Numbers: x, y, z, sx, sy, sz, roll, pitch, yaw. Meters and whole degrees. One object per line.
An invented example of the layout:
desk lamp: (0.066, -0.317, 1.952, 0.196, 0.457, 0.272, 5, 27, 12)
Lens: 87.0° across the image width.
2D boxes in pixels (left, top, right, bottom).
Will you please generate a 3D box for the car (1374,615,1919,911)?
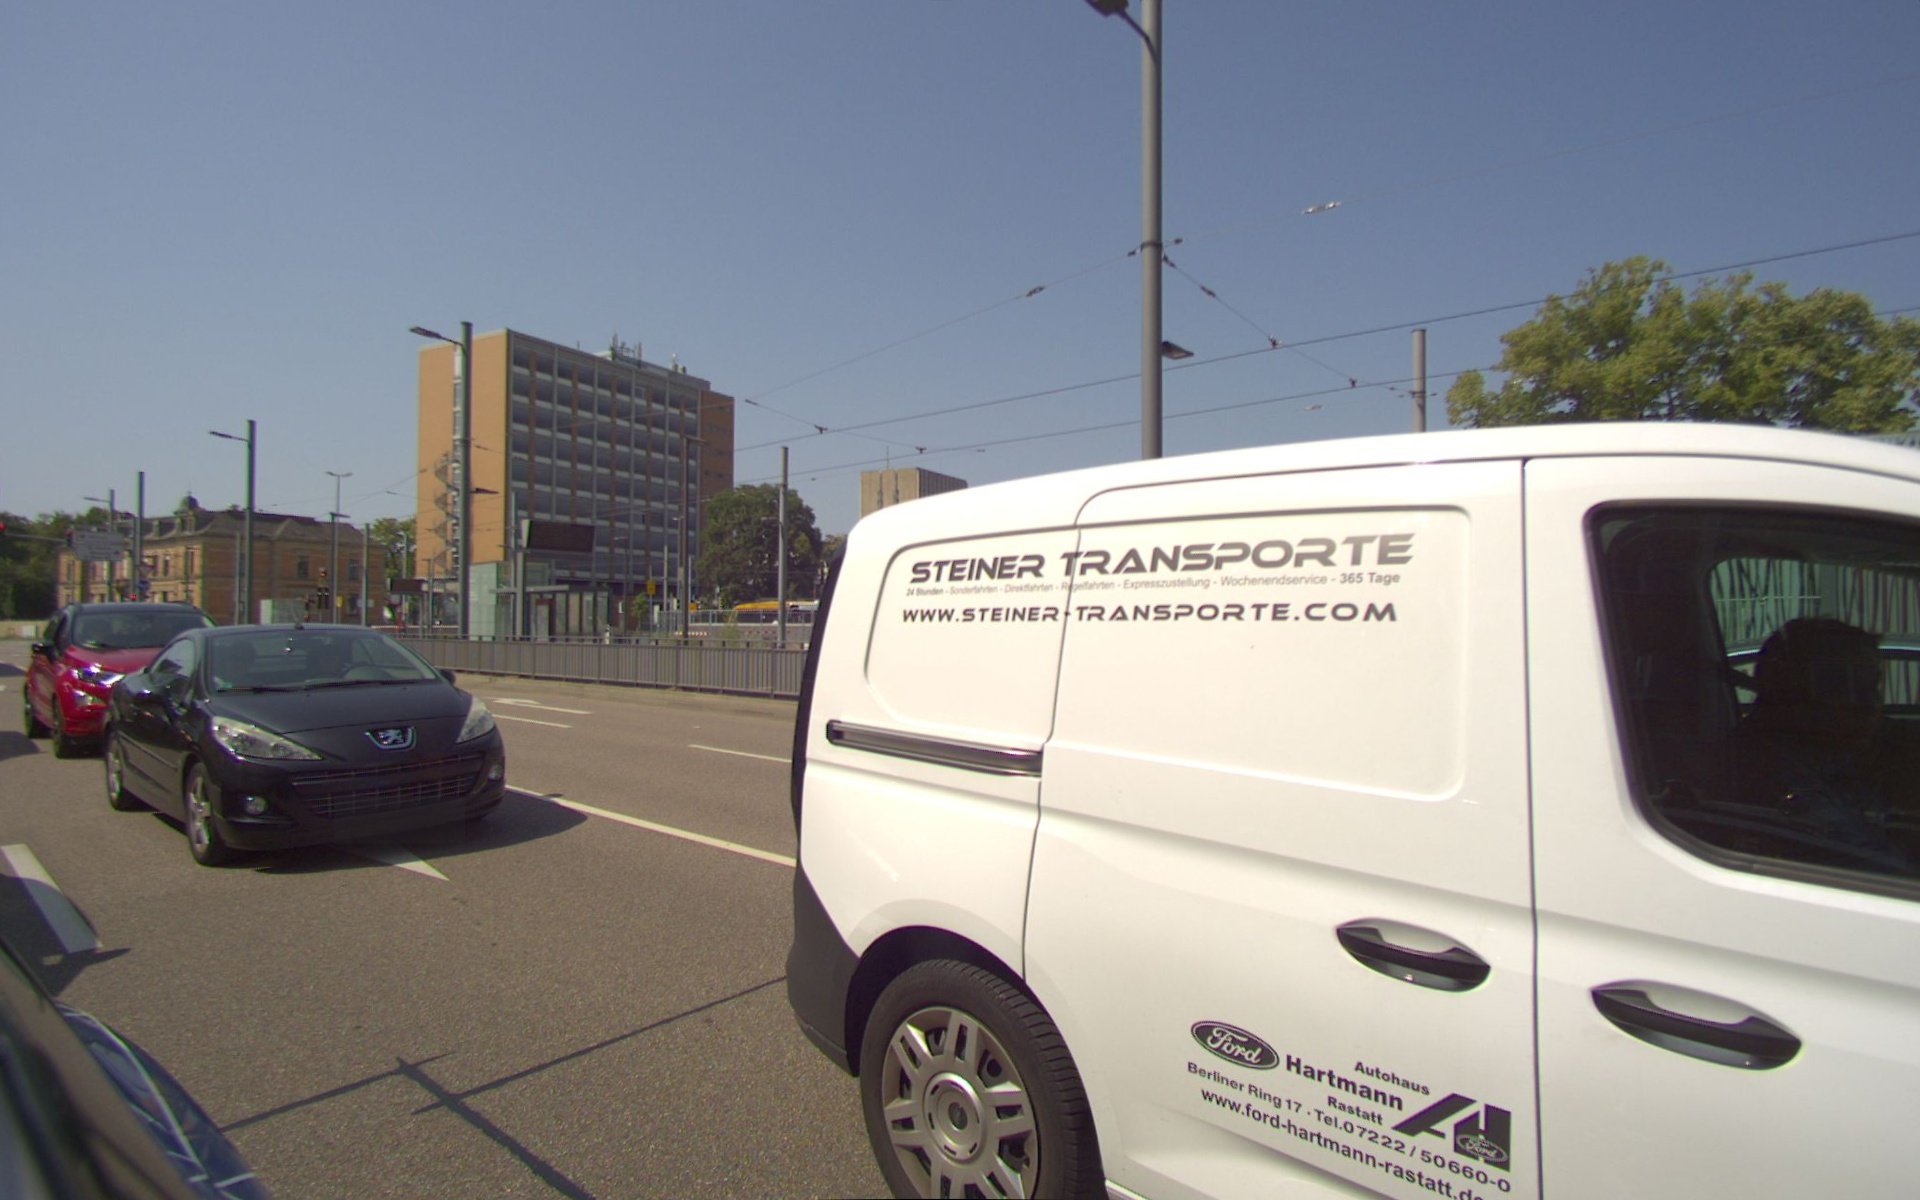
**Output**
car: (5.016, 0.842, 5.828, 4.570, 1.446, 1.728, -2, -4, 41)

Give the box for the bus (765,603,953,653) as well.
bus: (-7.290, 1.986, 73.628, 13.205, 3.319, 3.354, -1, 0, -4)

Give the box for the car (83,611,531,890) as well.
car: (-4.728, 0.819, 7.118, 3.799, 1.424, 1.671, -1, -1, 41)

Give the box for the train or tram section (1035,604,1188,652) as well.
train or tram section: (12.273, 2.279, 82.342, 12.180, 3.794, 2.002, 0, -2, -4)

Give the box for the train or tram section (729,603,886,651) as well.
train or tram section: (-12.034, 2.172, 80.545, 12.180, 3.794, 2.002, 0, -2, -4)

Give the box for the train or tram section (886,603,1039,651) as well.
train or tram section: (0.135, 2.210, 81.446, 12.180, 3.794, 2.002, 0, -2, -4)

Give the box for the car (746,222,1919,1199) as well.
car: (1.600, 0.487, 1.874, 4.237, 1.834, 1.729, -1, -1, 41)

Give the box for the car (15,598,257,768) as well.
car: (-9.578, 0.826, 11.654, 3.967, 1.633, 1.612, -1, -1, 43)

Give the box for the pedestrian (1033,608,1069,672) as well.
pedestrian: (2.640, 1.157, 29.343, 0.761, 1.801, 0.735, -2, -3, 42)

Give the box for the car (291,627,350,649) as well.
car: (-49.866, 2.950, 78.945, 3.817, 1.597, 1.693, -1, 0, -36)
